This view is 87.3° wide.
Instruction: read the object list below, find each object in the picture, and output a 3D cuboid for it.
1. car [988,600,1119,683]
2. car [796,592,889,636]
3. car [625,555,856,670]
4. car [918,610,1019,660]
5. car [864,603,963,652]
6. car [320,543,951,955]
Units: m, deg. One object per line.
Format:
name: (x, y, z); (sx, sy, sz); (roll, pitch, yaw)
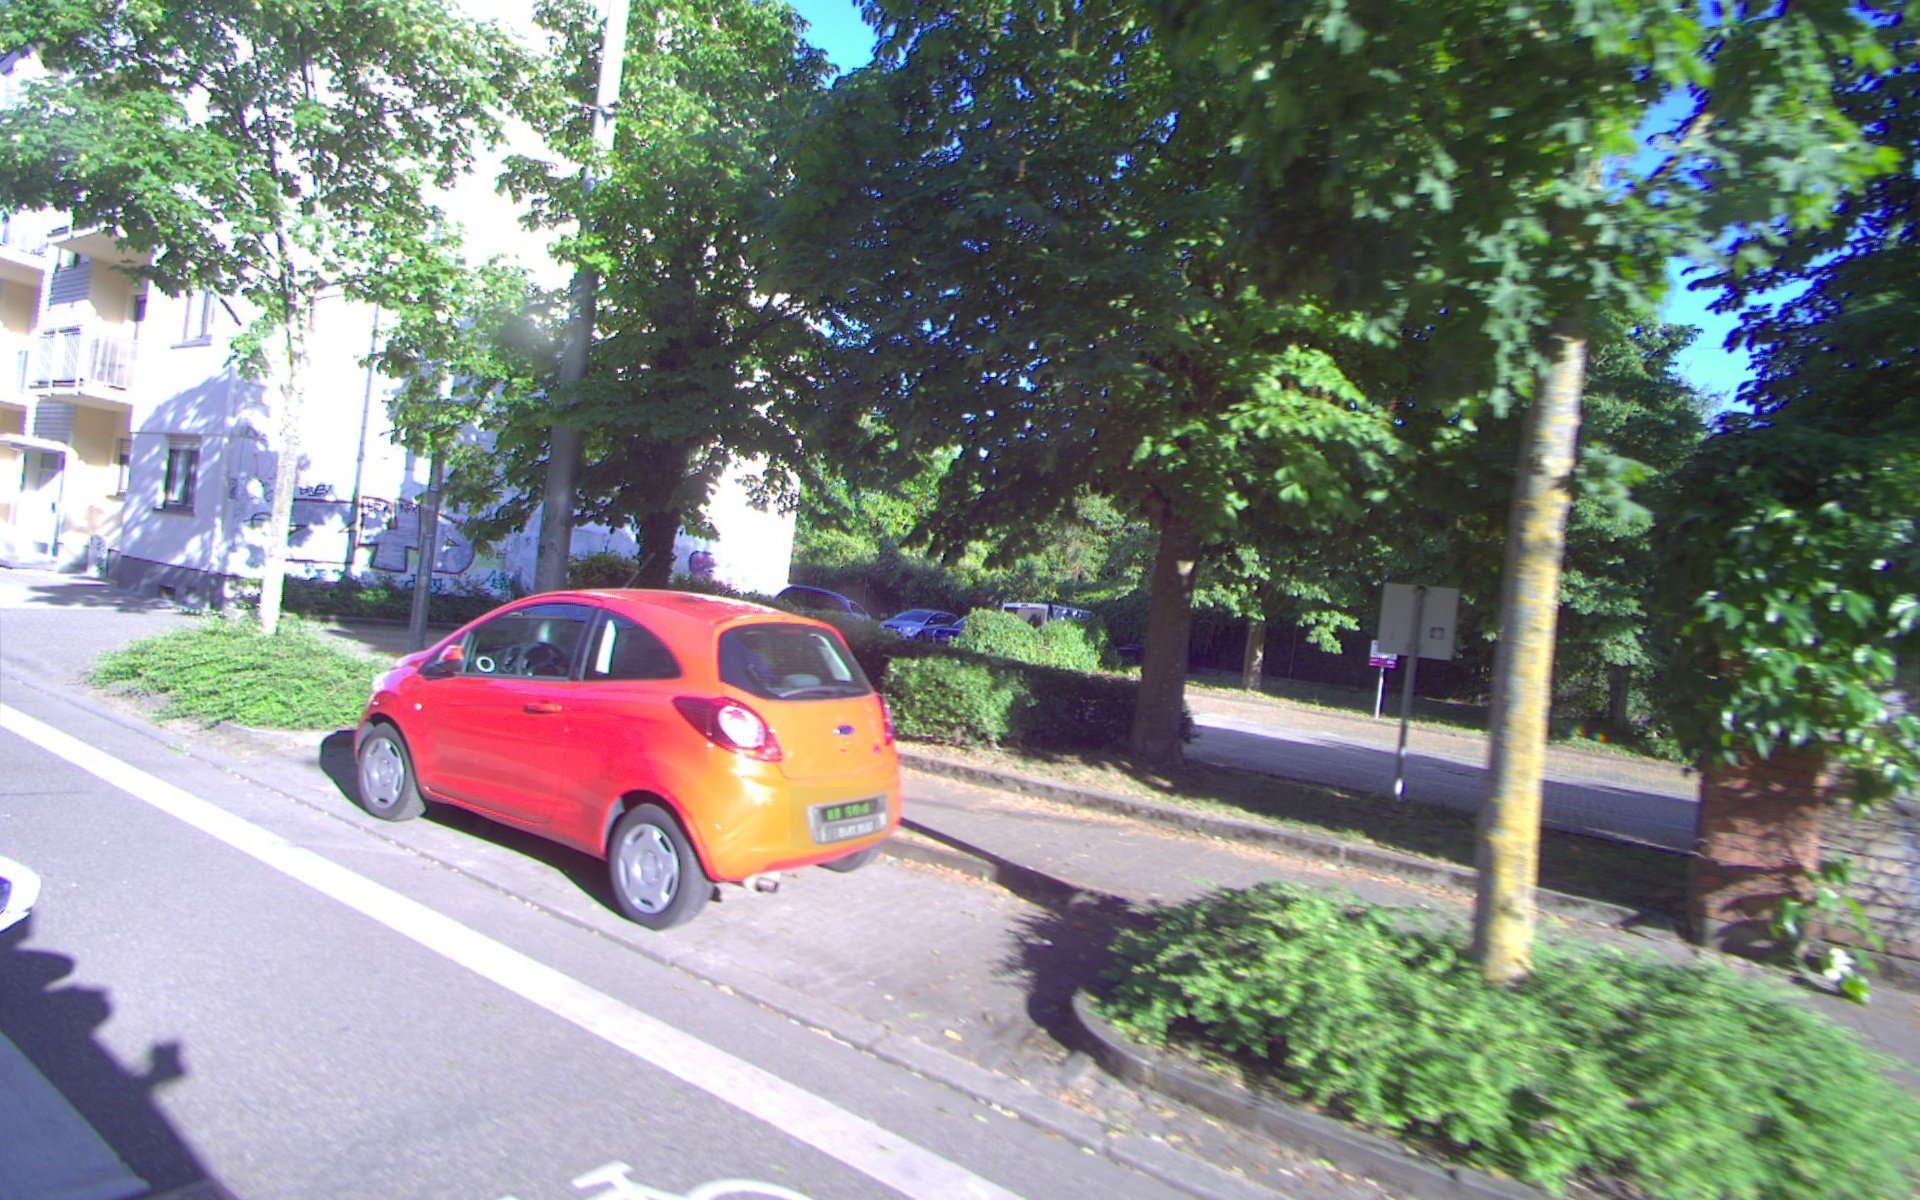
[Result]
car: (2.951, 1.328, 30.662); (1.966, 2.006, 4.827); (7, -2, 30)
car: (-5.001, 0.628, 43.434); (1.862, 1.504, 3.993); (7, 0, 30)
car: (-4.043, 0.312, 19.205); (1.861, 1.642, 4.160); (7, -2, 30)
car: (0.377, 1.327, 37.099); (1.862, 1.504, 3.993); (7, 0, 30)
car: (-1.748, 1.100, 39.053); (1.862, 1.504, 3.993); (7, 0, 30)
car: (-1.952, 0.621, 5.834); (3.341, 1.528, 1.636); (7, 2, 32)
